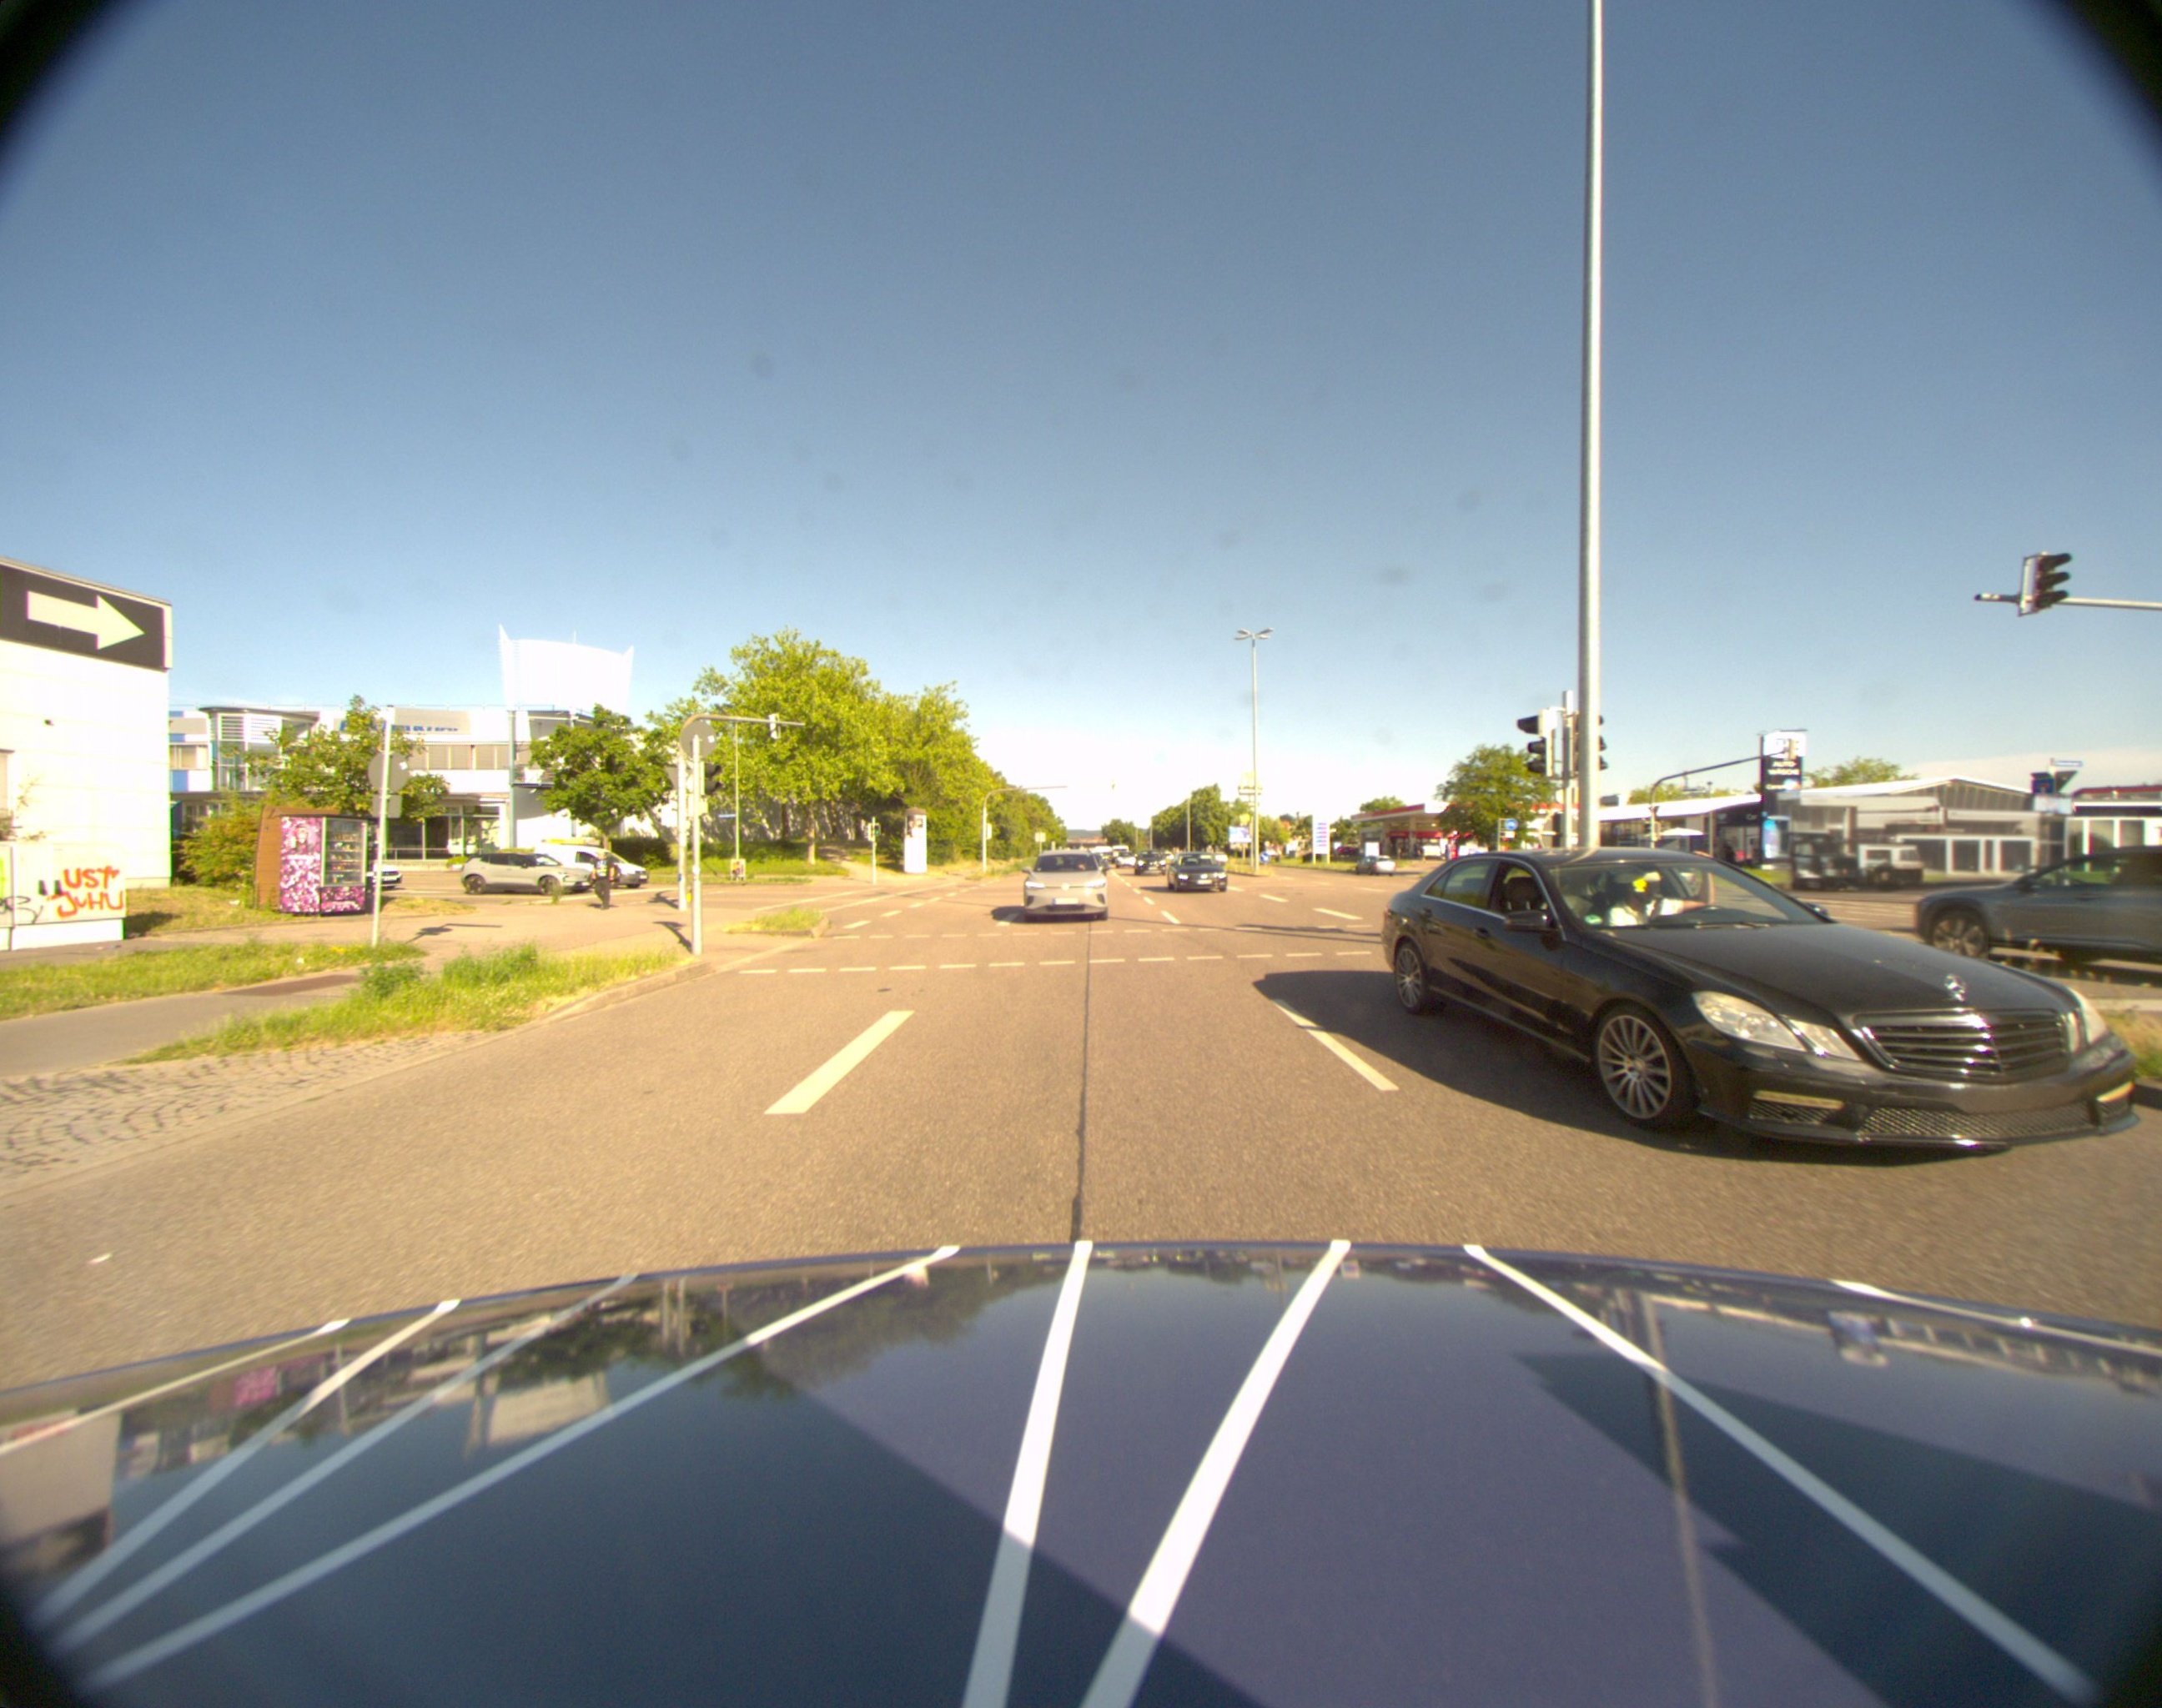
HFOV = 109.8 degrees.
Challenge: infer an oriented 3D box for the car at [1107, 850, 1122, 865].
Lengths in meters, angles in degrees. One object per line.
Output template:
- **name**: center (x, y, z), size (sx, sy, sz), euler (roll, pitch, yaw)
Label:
- **car**: center (4.777, 0.433, 108.332), size (1.998, 2.002, 3.999), euler (-2, 1, 1)

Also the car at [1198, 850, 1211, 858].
- **car**: center (21.805, -0.042, 134.125), size (1.699, 1.424, 4.458), euler (1, 1, 1)

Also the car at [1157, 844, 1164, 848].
- **car**: center (24.663, -2.467, 236.579), size (1.699, 1.424, 4.458), euler (1, 1, 1)

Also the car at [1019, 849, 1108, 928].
- **car**: center (-0.324, 0.716, 18.295), size (1.848, 1.615, 4.265), euler (-1, 1, 1)

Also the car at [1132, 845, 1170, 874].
- **car**: center (4.363, 0.318, 48.037), size (1.998, 1.674, 4.695), euler (-2, 1, 1)

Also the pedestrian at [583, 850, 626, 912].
- **pedestrian**: center (-13.248, 0.740, 21.133), size (0.759, 1.706, 0.617), euler (0, 1, 1)

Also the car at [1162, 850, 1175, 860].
- **car**: center (14.072, 0.118, 122.595), size (1.699, 1.424, 3.664), euler (1, 1, 1)

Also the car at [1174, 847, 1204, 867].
- **car**: center (8.308, 0.189, 58.866), size (1.790, 1.447, 4.116), euler (0, 1, 1)

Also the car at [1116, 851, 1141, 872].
- **car**: center (4.332, 0.663, 70.047), size (1.998, 1.779, 4.270), euler (-2, 1, 1)

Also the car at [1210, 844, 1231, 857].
- **car**: center (17.877, -0.491, 97.598), size (1.900, 1.590, 4.266), euler (1, 1, 1)

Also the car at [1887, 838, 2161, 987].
- **car**: center (12.802, 0.643, 9.077), size (1.879, 1.633, 4.170), euler (1, 1, 1)

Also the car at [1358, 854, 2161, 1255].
- **car**: center (3.798, 0.783, 5.388), size (1.964, 1.474, 4.918), euler (-1, 1, 1)

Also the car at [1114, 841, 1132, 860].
- **car**: center (5.226, -0.460, 94.842), size (2.089, 2.230, 3.999), euler (-2, 1, 1)

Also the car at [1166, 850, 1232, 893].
- **car**: center (4.330, 0.595, 28.446), size (1.848, 1.445, 4.265), euler (-1, 1, 1)

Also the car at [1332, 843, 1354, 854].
- **car**: center (38.787, -0.781, 112.625), size (1.762, 1.604, 4.118), euler (1, 1, -1)

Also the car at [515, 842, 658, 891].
- **car**: center (-20.381, 0.479, 31.440), size (4.692, 1.923, 1.872), euler (-1, 1, 1)

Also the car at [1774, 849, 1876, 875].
- **car**: center (44.034, 0.437, 45.033), size (4.116, 1.424, 1.901), euler (1, 1, 1)

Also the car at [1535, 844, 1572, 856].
- **car**: center (56.773, -0.473, 91.383), size (1.772, 1.432, 4.119), euler (0, 1, -1)

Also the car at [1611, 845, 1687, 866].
- **car**: center (37.775, 0.053, 50.631), size (1.900, 1.317, 4.118), euler (1, 1, -1)

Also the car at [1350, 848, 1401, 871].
- **car**: center (20.366, 0.386, 52.720), size (1.998, 1.517, 4.196), euler (0, 0, 1)

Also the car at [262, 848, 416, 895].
- **car**: center (-27.345, 0.616, 28.090), size (3.928, 1.581, 1.807), euler (0, 2, 1)

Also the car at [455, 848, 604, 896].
- **car**: center (-20.260, 0.646, 28.039), size (4.100, 1.636, 1.901), euler (0, 2, 1)

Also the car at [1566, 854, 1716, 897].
- **car**: center (19.944, 0.703, 27.373), size (1.998, 1.368, 4.622), euler (0, 1, 1)
